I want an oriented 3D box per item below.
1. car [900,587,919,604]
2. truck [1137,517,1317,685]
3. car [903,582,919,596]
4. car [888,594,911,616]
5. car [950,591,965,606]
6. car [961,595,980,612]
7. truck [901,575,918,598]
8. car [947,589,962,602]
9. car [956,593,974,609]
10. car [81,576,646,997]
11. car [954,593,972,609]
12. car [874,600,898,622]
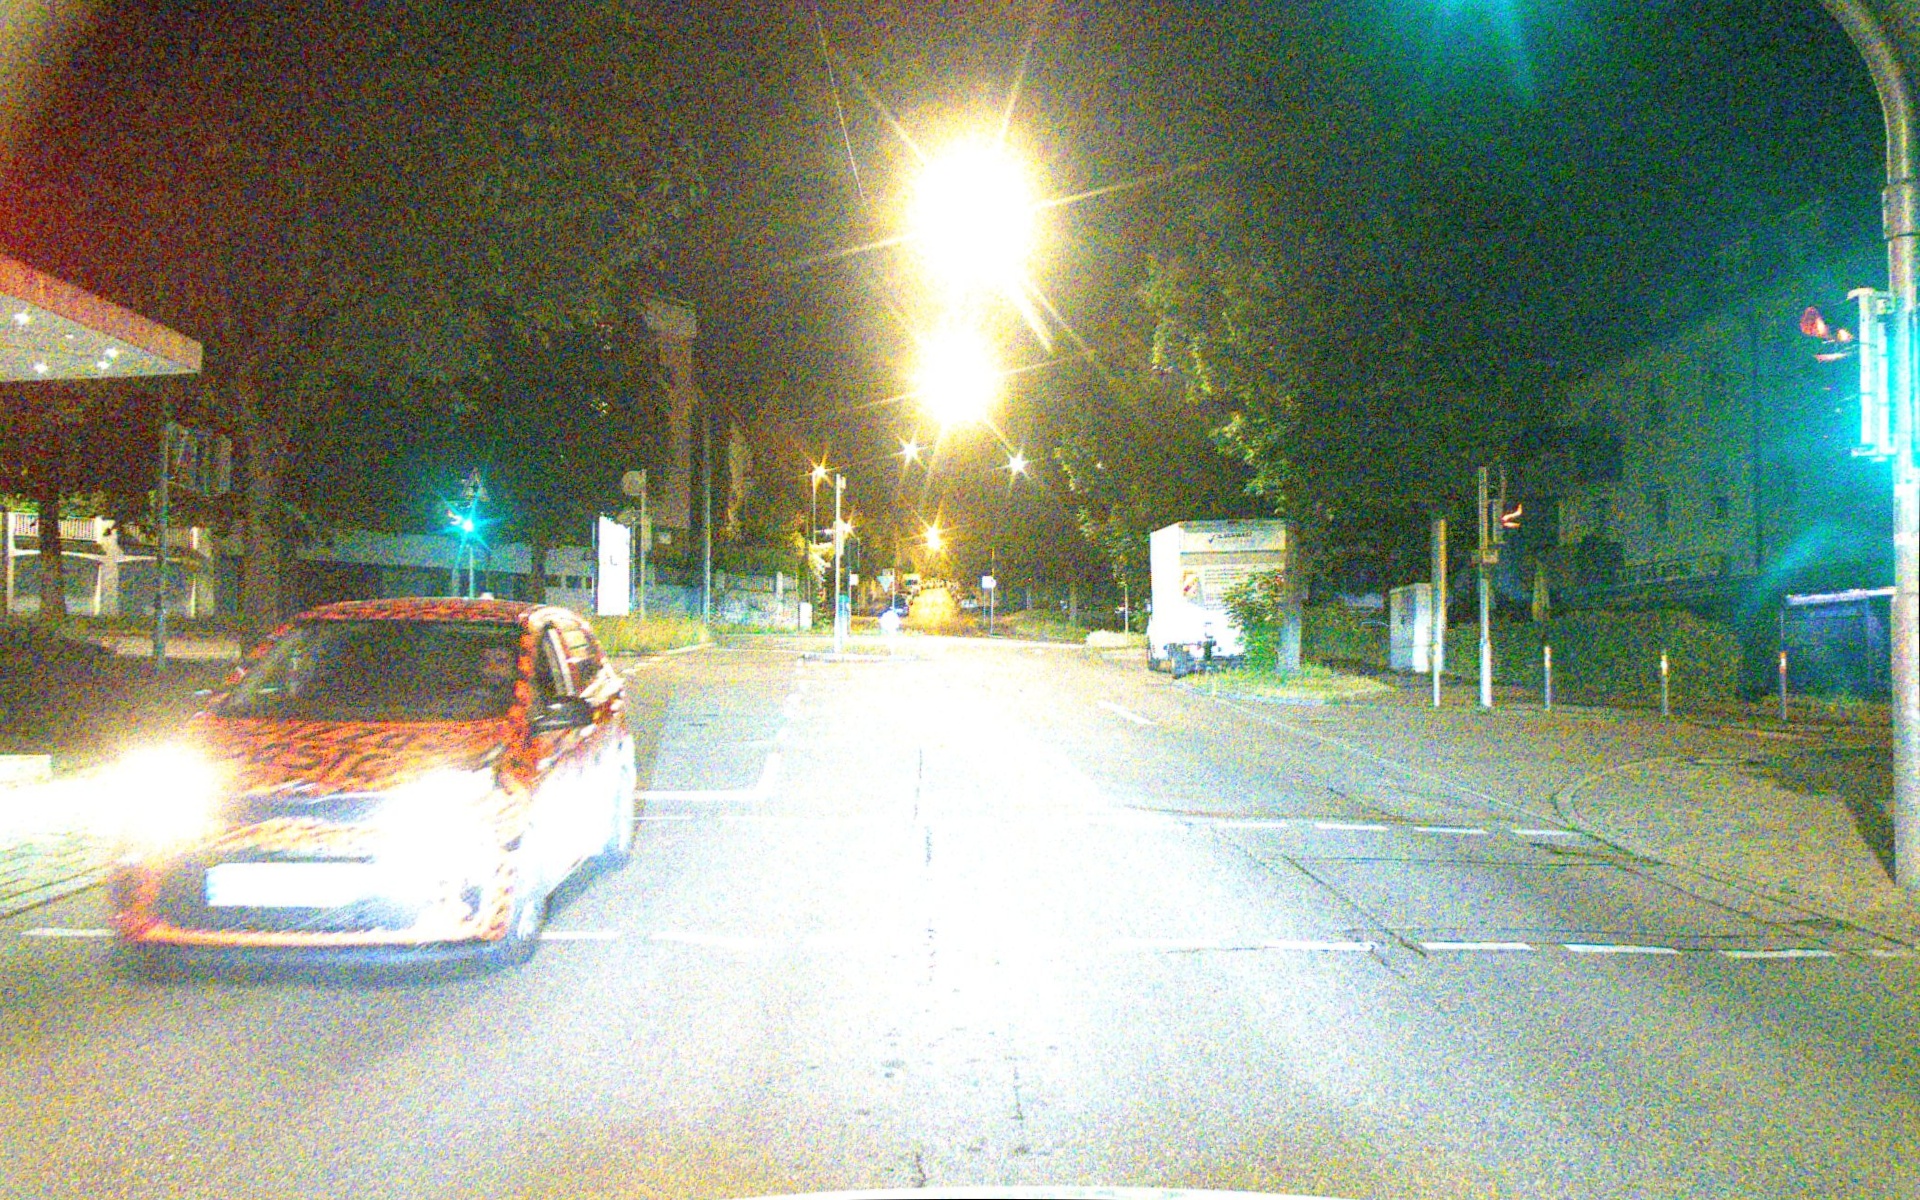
[{"bbox_3d":[-4.871,-0.430,160.489,1.779,1.517,3.998,1,0,-2],"label":"car"},{"bbox_3d":[5.432,0.014,34.710,2.693,3.165,6.257,1,0,0],"label":"truck"},{"bbox_3d":[-5.525,-1.196,186.873,1.779,1.517,3.998,1,0,-2],"label":"car"},{"bbox_3d":[-4.891,0.373,134.355,1.778,1.713,3.999,1,0,-1],"label":"car"},{"bbox_3d":[-0.256,-0.164,178.503,1.601,1.477,3.484,1,0,-1],"label":"car"},{"bbox_3d":[0.884,0.297,143.358,1.601,1.477,3.484,1,0,-1],"label":"car"},{"bbox_3d":[-6.427,-1.696,209.497,2.044,2.897,5.828,1,0,-2],"label":"truck"},{"bbox_3d":[-0.648,-0.478,191.470,1.601,1.477,3.484,1,0,-1],"label":"car"},{"bbox_3d":[0.422,0.071,153.087,1.601,1.477,3.484,1,0,-1],"label":"car"},{"bbox_3d":[-2.499,0.680,7.755,1.550,1.528,3.394,1,0,-3],"label":"car"},{"bbox_3d":[0.268,0.107,159.269,1.601,1.477,3.484,1,0,-1],"label":"car"},{"bbox_3d":[-5.258,0.761,118.122,1.601,1.477,3.484,1,0,-1],"label":"car"}]
